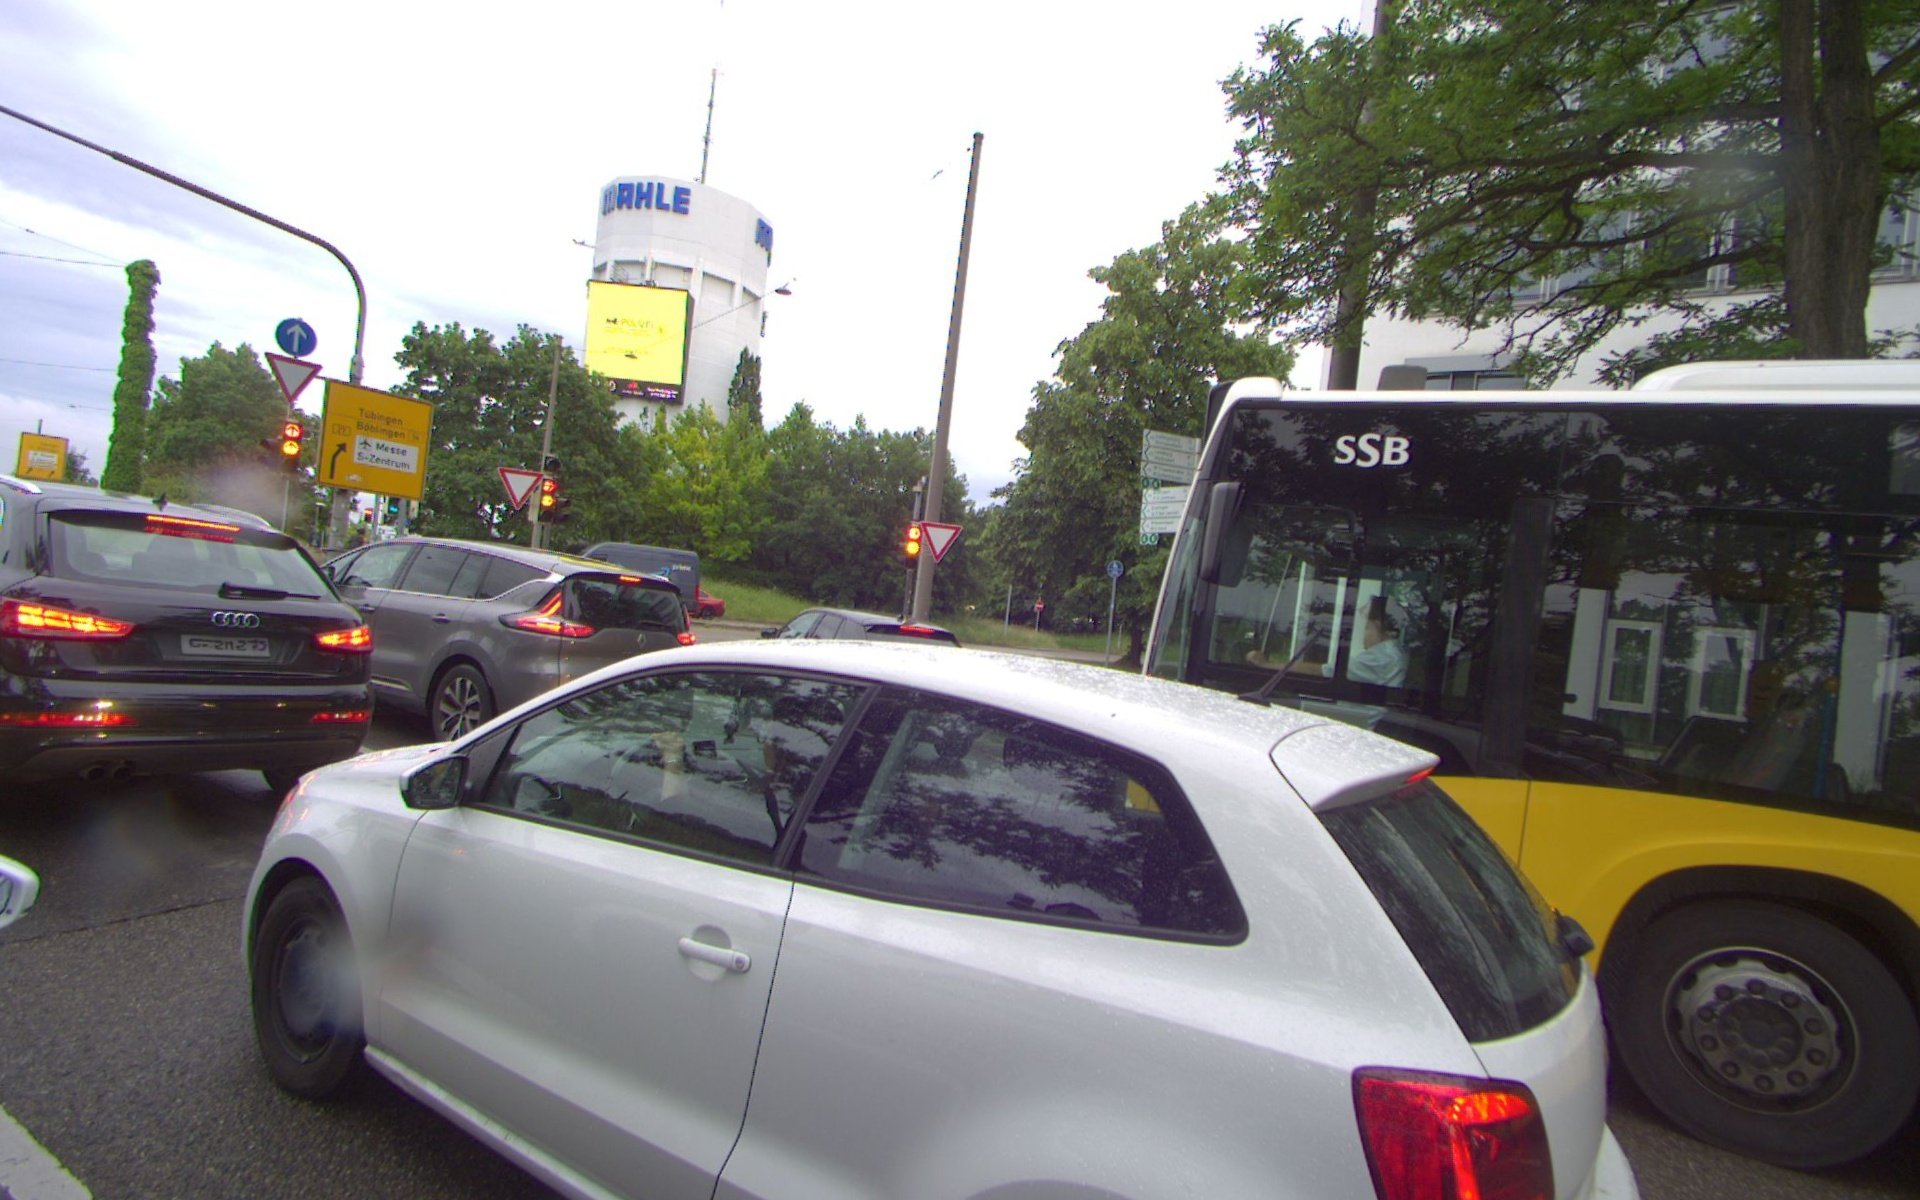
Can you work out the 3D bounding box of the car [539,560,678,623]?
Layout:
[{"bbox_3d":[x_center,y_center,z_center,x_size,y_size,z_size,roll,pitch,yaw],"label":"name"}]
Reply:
[{"bbox_3d":[-11.944,-0.273,34.273,4.027,1.586,1.855,9,-4,-36],"label":"car"}]

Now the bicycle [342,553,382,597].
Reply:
[{"bbox_3d":[-15.985,-0.690,26.885,0.802,1.035,2.310,6,-1,-31],"label":"bicycle"}]

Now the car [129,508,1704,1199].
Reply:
[{"bbox_3d":[-0.401,0.706,2.861,3.748,1.447,1.745,6,-3,31],"label":"car"}]

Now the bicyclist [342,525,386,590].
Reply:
[{"bbox_3d":[-15.941,-1.124,26.891,0.803,1.602,1.015,9,-2,-32],"label":"bicyclist"}]

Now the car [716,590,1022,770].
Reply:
[{"bbox_3d":[-1.270,0.839,11.916,1.851,1.516,4.116,6,0,-32],"label":"car"}]

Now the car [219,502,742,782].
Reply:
[{"bbox_3d":[-4.373,0.271,8.996,4.488,1.694,1.869,8,-1,30],"label":"car"}]

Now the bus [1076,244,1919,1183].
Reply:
[{"bbox_3d":[6.529,0.823,3.019,11.943,3.187,2.733,7,-2,32],"label":"bus"}]

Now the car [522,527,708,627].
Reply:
[{"bbox_3d":[-12.684,-0.776,37.203,5.972,2.772,2.065,9,-3,-33],"label":"car"}]

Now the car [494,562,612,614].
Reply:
[{"bbox_3d":[-17.070,-0.489,42.246,4.112,1.582,1.852,9,-2,-38],"label":"car"}]

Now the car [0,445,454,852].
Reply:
[{"bbox_3d":[-5.094,0.120,5.783,4.045,1.613,1.889,6,-3,31],"label":"car"}]
